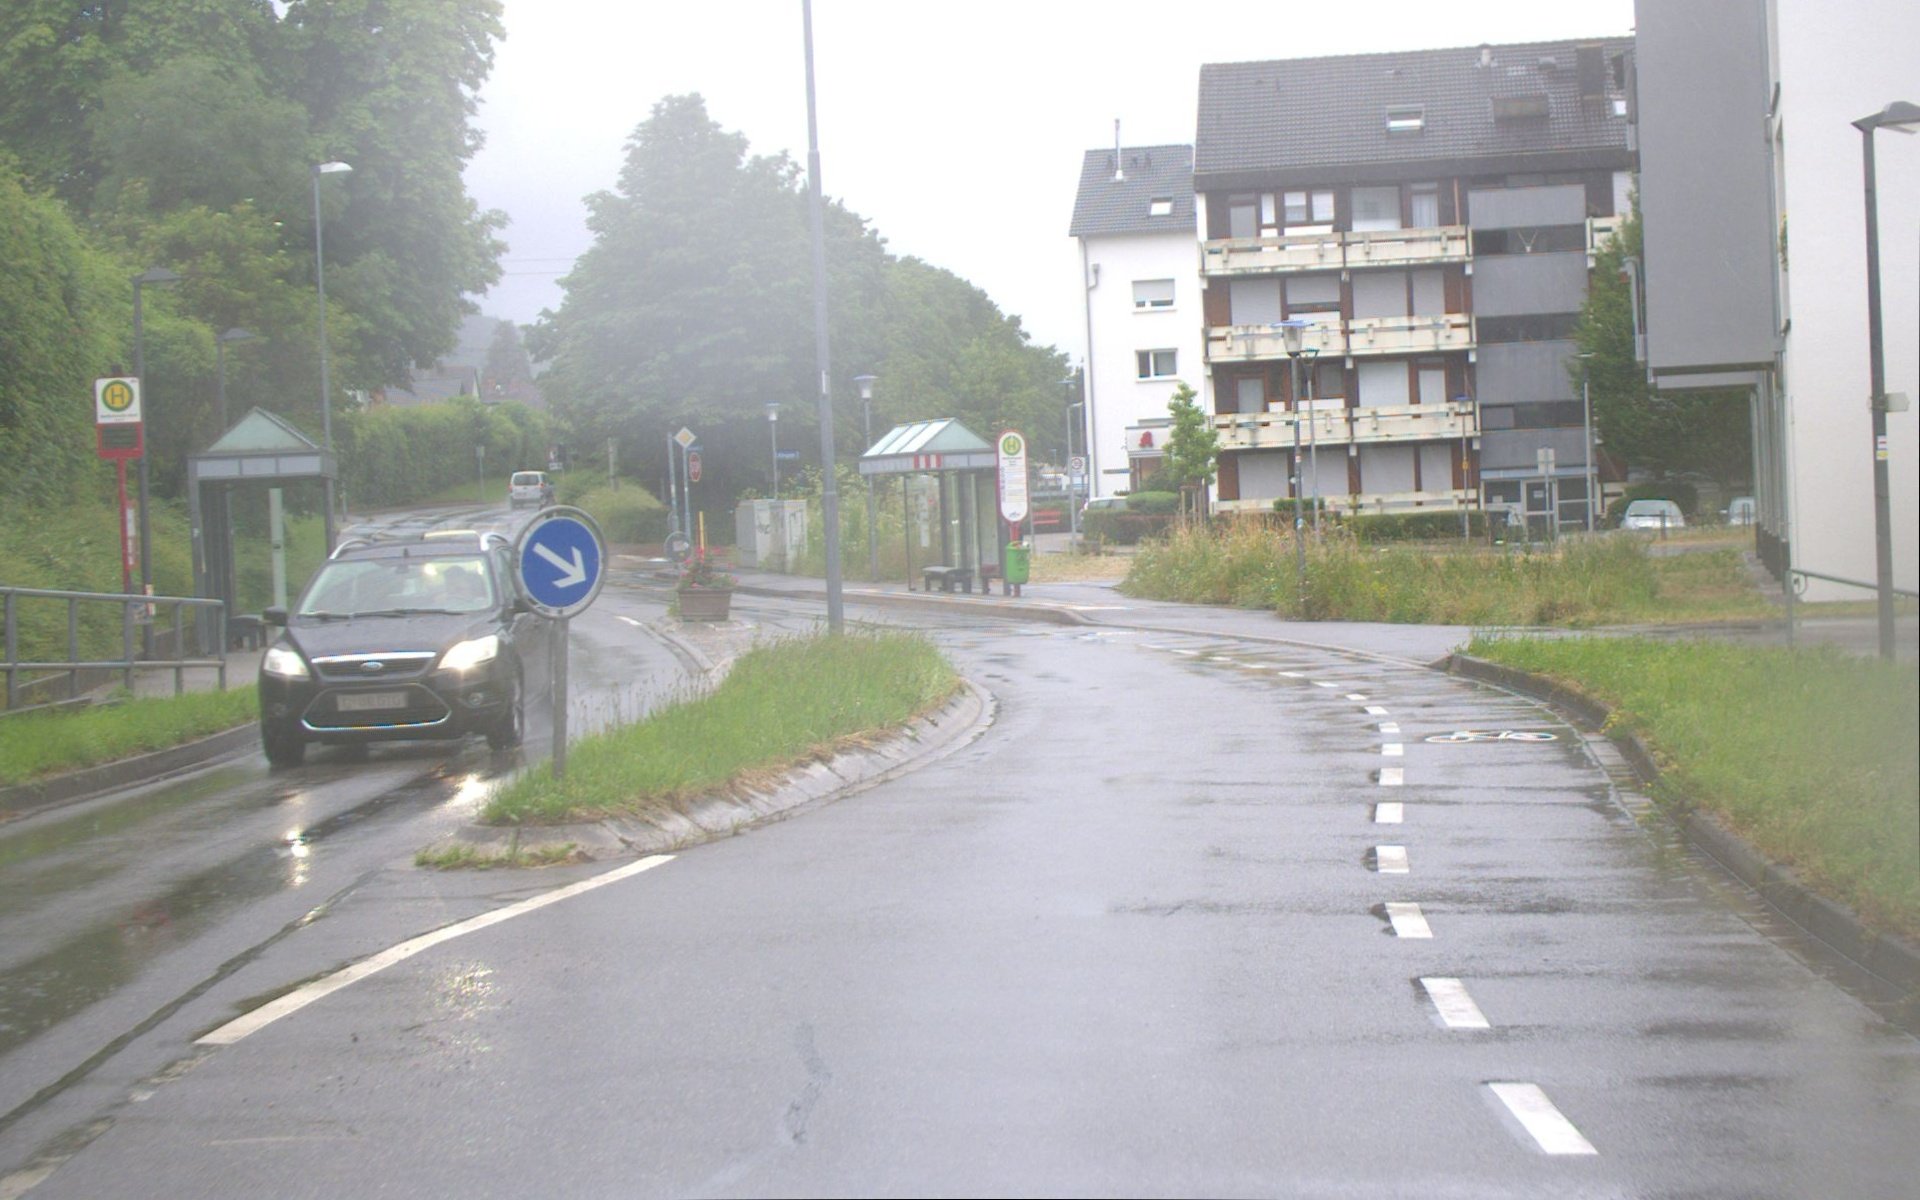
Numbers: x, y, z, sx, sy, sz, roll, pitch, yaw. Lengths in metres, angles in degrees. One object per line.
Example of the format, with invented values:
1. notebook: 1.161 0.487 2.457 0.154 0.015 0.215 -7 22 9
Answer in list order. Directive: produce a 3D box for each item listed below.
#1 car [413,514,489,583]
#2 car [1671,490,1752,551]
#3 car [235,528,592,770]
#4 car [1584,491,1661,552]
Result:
1. car: -11.406 -1.174 77.036 1.572 1.405 3.475 -4 2 -8
2. car: 19.326 -2.035 88.474 1.716 1.436 3.705 -1 0 8
3. car: -3.881 0.288 25.081 1.760 1.498 4.141 -3 1 2
4. car: 17.132 -2.009 89.043 1.716 1.436 3.705 -1 0 8
